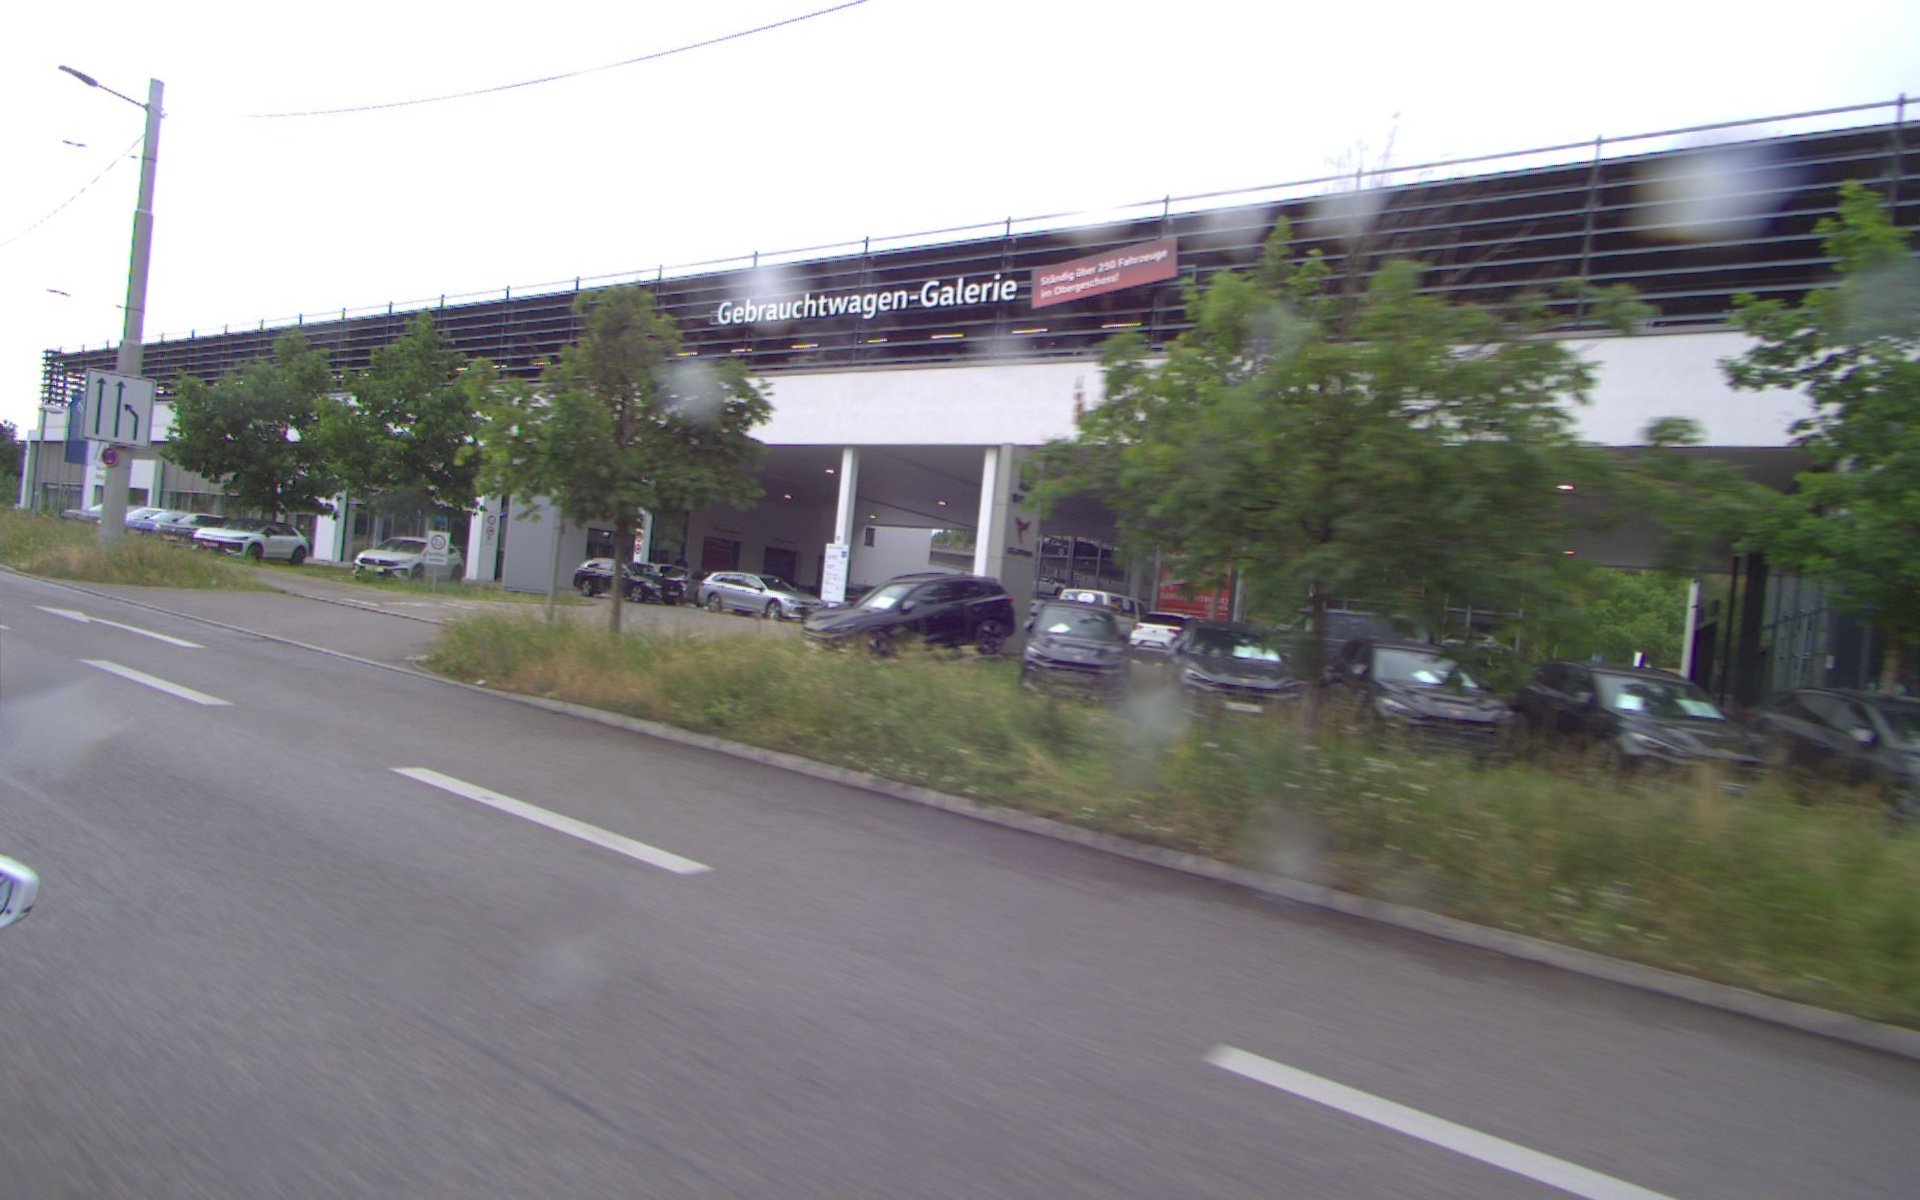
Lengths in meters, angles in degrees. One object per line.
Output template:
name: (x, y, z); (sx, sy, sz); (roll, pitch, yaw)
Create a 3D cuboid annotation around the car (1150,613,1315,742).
car: (4.270, 1.123, 16.430); (1.834, 1.582, 4.152); (6, 1, 6)

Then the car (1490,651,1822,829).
car: (8.882, 1.666, 13.372); (1.792, 1.590, 4.152); (6, 1, 8)

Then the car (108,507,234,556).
car: (-31.474, -2.687, 40.309); (1.766, 1.589, 4.187); (5, 1, -2)

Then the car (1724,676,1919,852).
car: (11.323, 1.937, 11.921); (1.873, 1.590, 4.152); (6, 1, 12)

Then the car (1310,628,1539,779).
car: (6.653, 1.381, 14.947); (1.792, 1.625, 4.152); (6, 1, 8)

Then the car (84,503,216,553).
car: (-34.032, -2.985, 42.446); (1.821, 1.647, 4.354); (5, 1, 3)

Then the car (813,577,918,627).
car: (-3.442, 0.101, 37.272); (1.735, 1.442, 3.991); (7, 0, 31)

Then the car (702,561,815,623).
car: (-7.784, -0.278, 39.142); (1.861, 1.747, 3.993); (6, -3, 34)

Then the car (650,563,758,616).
car: (-10.369, -0.407, 41.009); (1.757, 1.525, 3.993); (6, -3, 34)

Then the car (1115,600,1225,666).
car: (6.365, 1.041, 30.230); (1.873, 1.652, 3.991); (7, 0, 31)

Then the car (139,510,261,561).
car: (-28.544, -2.380, 37.977); (1.768, 1.589, 4.183); (5, 1, -8)

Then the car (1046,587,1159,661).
car: (4.578, 0.802, 31.820); (1.912, 2.000, 4.031); (7, 0, 31)

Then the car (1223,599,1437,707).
car: (8.804, 1.230, 24.056); (4.356, 1.963, 1.889); (7, 0, 31)

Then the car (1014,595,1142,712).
car: (1.980, 0.836, 17.965); (1.834, 1.633, 4.334); (6, 1, 3)

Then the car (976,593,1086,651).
car: (2.426, 0.770, 33.374); (1.873, 1.556, 3.991); (7, 0, 31)

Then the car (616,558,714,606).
car: (-12.499, -0.745, 42.821); (1.611, 1.607, 3.820); (7, 0, 31)

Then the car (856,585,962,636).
car: (-1.767, 0.399, 35.953); (1.735, 1.442, 3.991); (7, 0, 31)

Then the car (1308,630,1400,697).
car: (11.026, 1.772, 28.004); (1.695, 1.532, 4.037); (7, 0, 30)

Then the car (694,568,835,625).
car: (-6.749, -0.131, 34.593); (4.619, 1.487, 1.894); (6, 1, 32)

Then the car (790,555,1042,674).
car: (-0.810, 0.326, 20.146); (4.674, 1.901, 1.807); (5, 2, -35)

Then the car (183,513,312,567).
car: (-25.232, -2.077, 35.801); (1.766, 1.589, 4.096); (5, 1, -4)

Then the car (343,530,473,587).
car: (-17.115, -1.245, 31.411); (1.715, 1.484, 4.098); (5, 1, 0)

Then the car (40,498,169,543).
car: (-39.723, -3.635, 46.870); (1.817, 1.588, 4.625); (5, 1, 3)

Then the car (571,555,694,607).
car: (-12.332, -0.724, 37.776); (4.617, 1.487, 1.780); (6, 1, 32)
